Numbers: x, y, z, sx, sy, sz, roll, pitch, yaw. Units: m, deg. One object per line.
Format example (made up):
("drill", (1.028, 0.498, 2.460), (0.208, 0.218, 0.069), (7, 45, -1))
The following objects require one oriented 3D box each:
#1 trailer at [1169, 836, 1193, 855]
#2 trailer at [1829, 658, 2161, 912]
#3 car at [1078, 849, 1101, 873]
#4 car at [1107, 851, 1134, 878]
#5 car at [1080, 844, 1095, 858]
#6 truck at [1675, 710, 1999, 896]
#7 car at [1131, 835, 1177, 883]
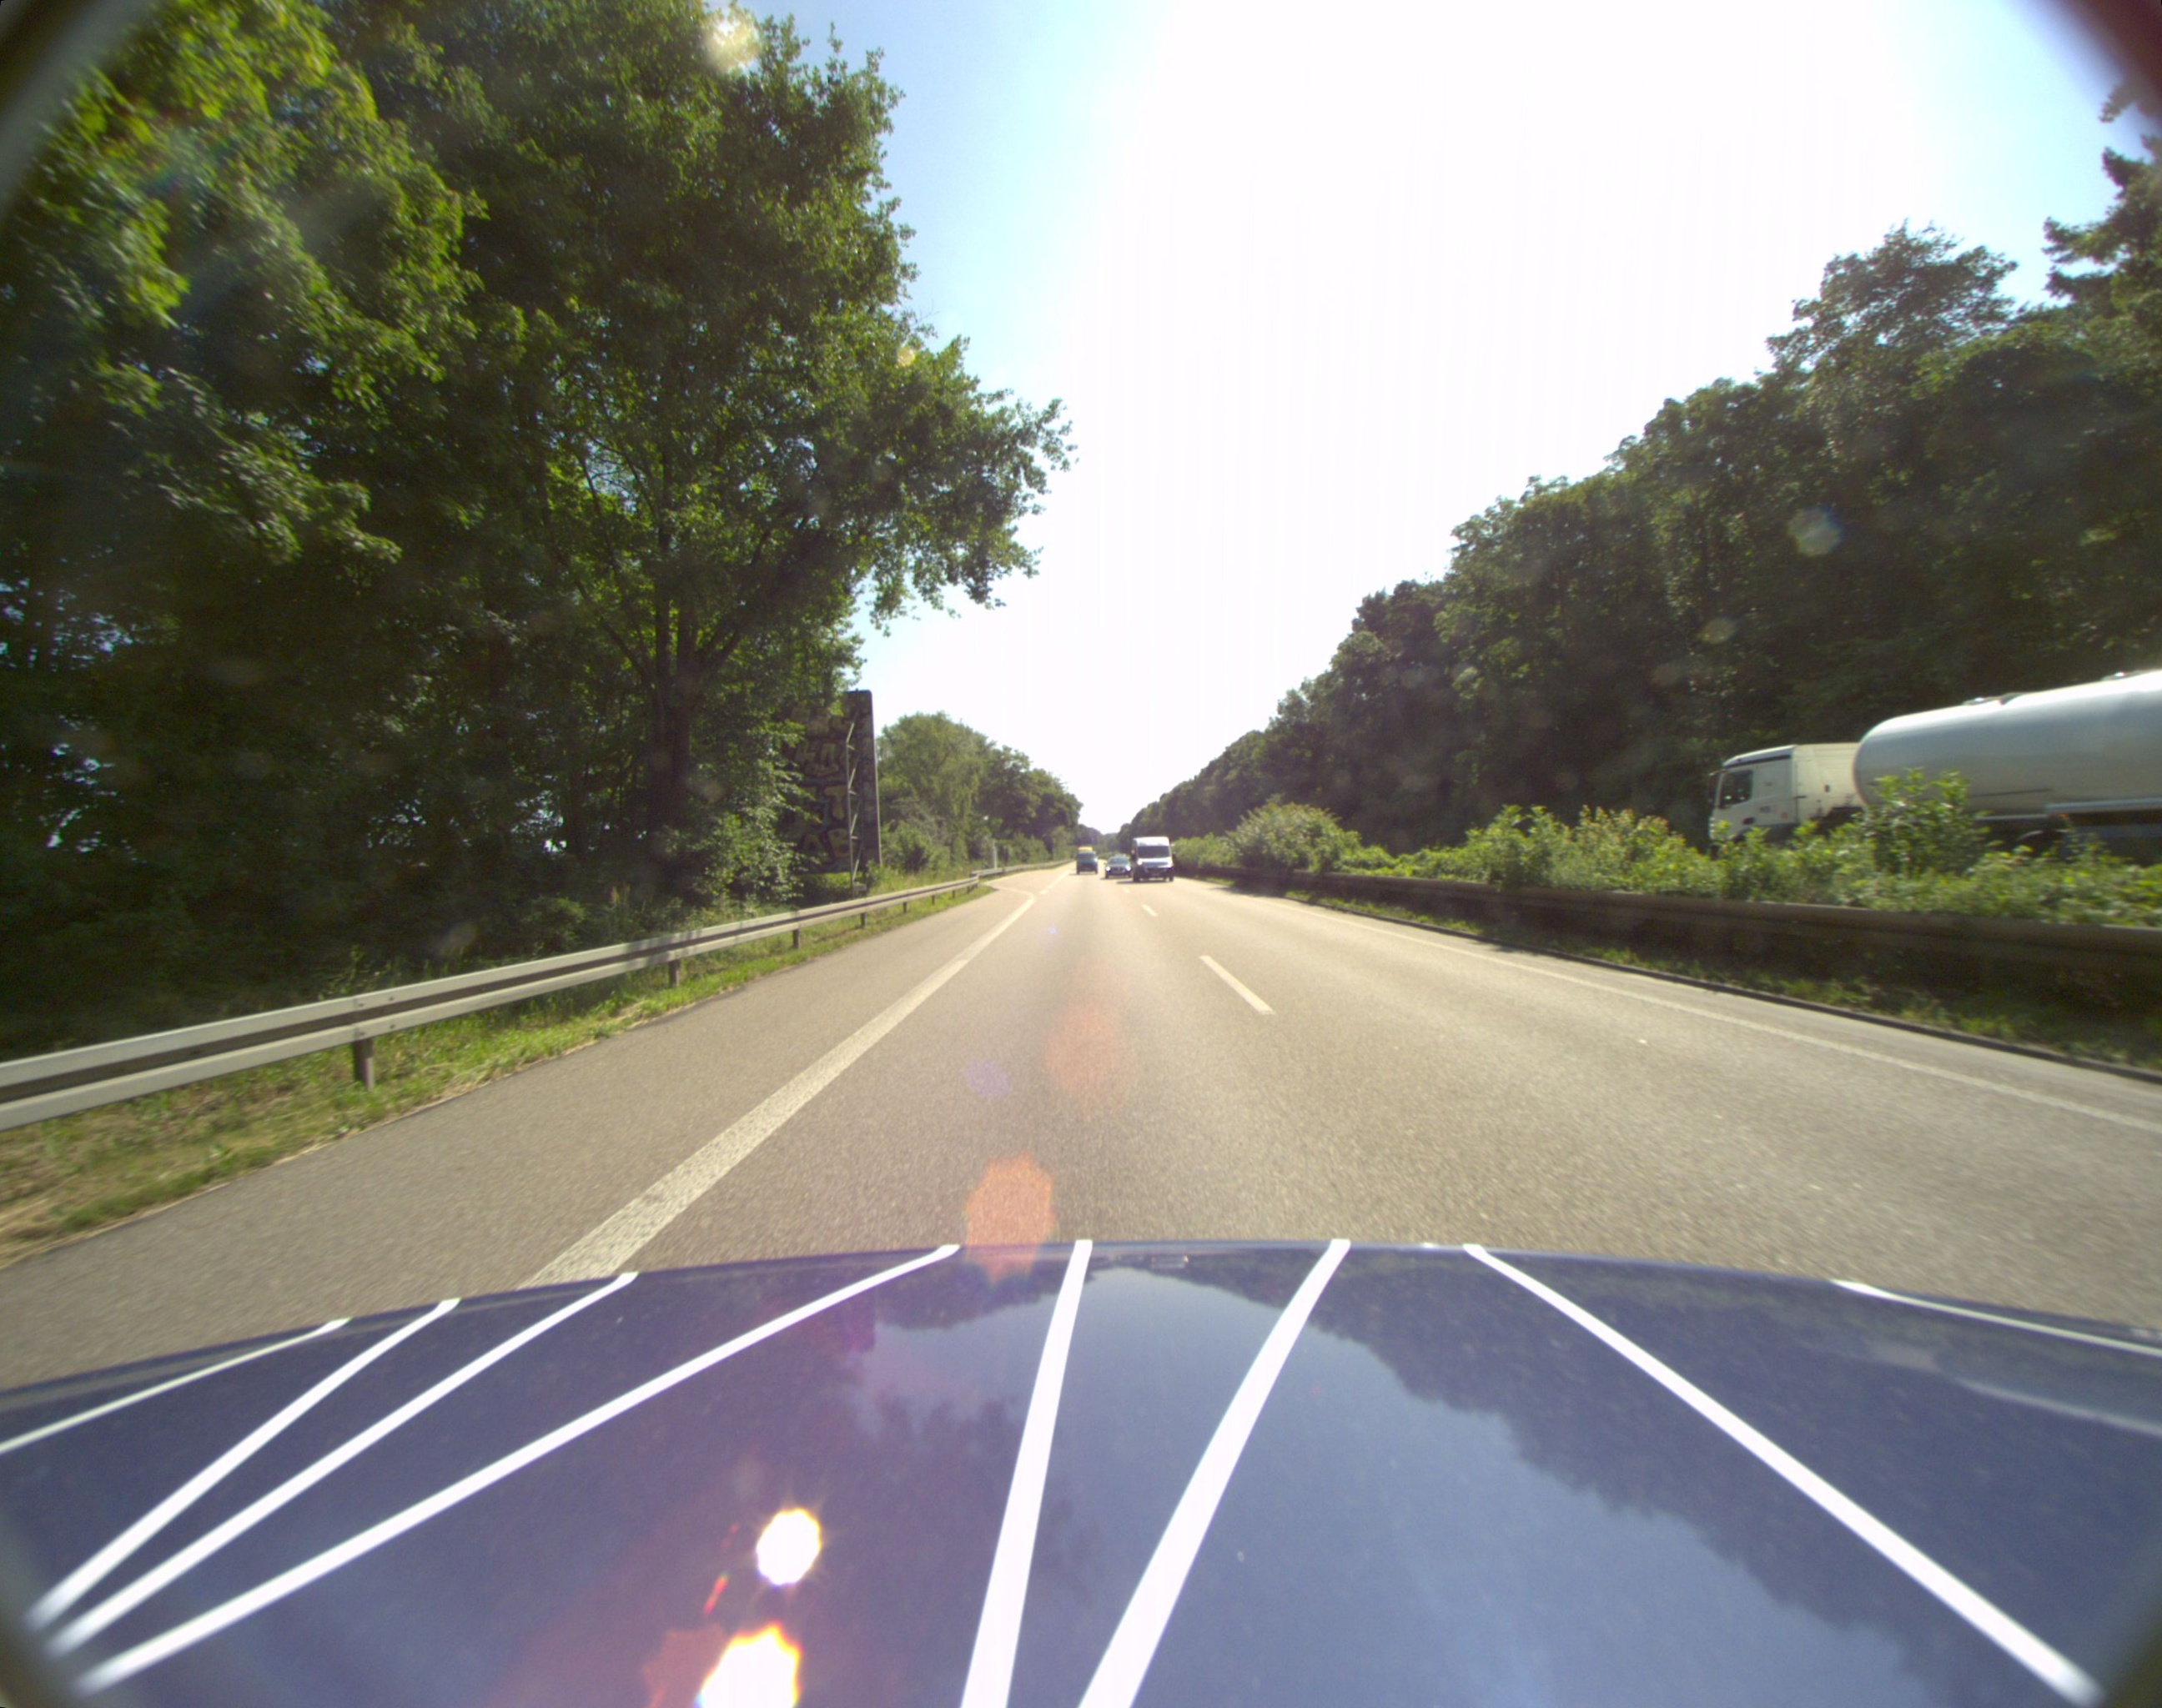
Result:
("trailer", (17.558, -1.478, 134.585), (2.499, 3.216, 14.431), (-2, 0, 1))
("trailer", (15.367, -0.944, 8.928), (1.998, 3.382, 11.418), (-2, 0, 1))
("car", (0.716, 0.543, 65.302), (1.812, 1.921, 4.581), (-2, 0, 0))
("car", (2.616, 0.664, 50.822), (1.666, 1.624, 3.644), (-2, 0, 1))
("car", (0.822, -0.371, 93.806), (1.737, 1.624, 3.899), (-2, 0, 1))
("truck", (15.631, -0.945, 16.187), (2.344, 3.322, 4.541), (-2, 0, 1))
("car", (4.015, 0.254, 42.604), (2.046, 2.429, 4.637), (-2, 0, 0))
